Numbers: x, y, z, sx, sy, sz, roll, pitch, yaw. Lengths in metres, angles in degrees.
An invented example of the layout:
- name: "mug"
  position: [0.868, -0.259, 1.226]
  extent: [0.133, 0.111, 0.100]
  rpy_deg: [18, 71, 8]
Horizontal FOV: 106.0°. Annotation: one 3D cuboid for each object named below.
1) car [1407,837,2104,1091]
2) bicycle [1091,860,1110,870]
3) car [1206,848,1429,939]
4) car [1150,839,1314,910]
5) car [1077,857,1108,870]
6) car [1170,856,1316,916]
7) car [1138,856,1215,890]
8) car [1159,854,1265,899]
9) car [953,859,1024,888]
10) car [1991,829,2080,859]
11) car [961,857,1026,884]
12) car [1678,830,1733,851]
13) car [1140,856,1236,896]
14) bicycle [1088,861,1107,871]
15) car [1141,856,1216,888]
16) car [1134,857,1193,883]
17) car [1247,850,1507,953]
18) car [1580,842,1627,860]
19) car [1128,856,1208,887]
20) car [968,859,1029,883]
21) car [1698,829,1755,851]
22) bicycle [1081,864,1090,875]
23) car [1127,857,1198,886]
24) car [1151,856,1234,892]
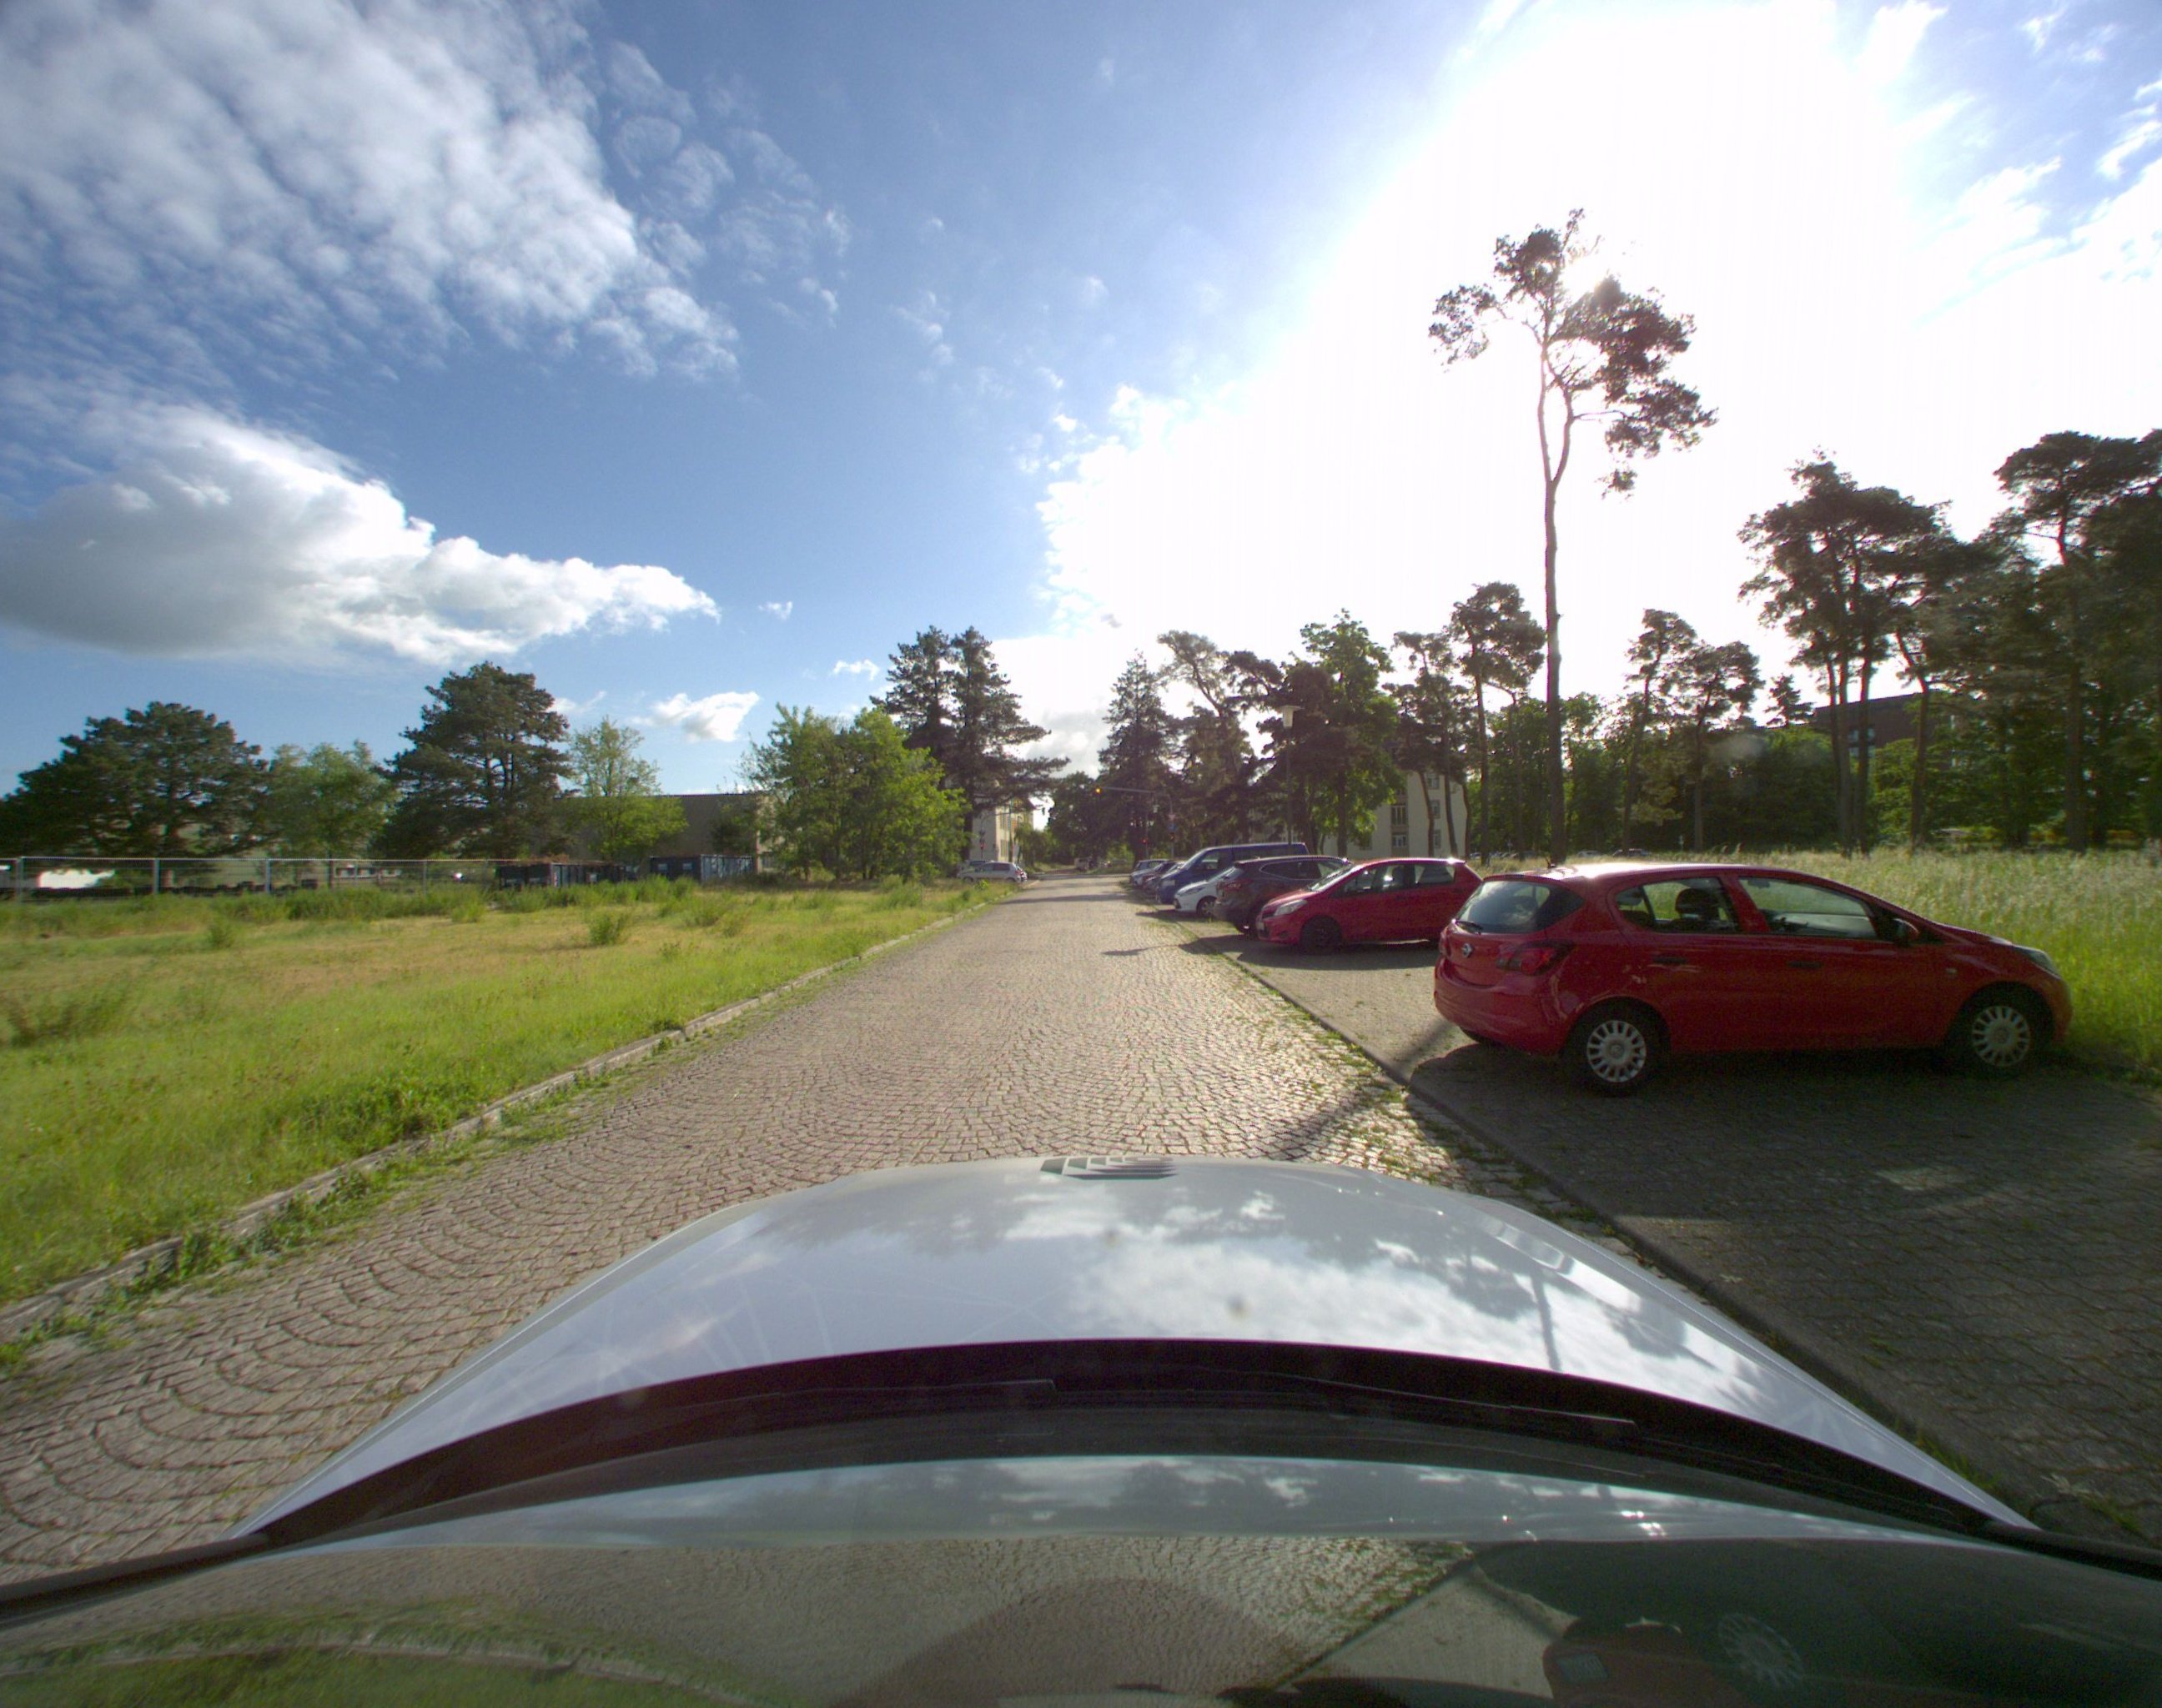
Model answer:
- name: "car"
  position: [4.676, 0.700, 6.051]
  extent: [3.816, 1.478, 1.645]
  rpy_deg: [-2, 0, -1]
- name: "bicycle"
  position: [2.346, 1.352, 99.183]
  extent: [2.173, 1.100, 0.804]
  rpy_deg: [-1, -1, -10]
- name: "car"
  position: [4.631, 0.751, 16.319]
  extent: [3.925, 1.621, 1.771]
  rpy_deg: [-1, 0, -2]
- name: "car"
  position: [4.630, 0.602, 25.417]
  extent: [4.666, 2.014, 2.081]
  rpy_deg: [-1, 0, -3]
- name: "car"
  position: [1.614, 1.310, 115.478]
  extent: [4.467, 1.728, 1.999]
  rpy_deg: [-1, 0, -1]
- name: "car"
  position: [4.457, 0.859, 22.735]
  extent: [3.710, 1.488, 1.644]
  rpy_deg: [-2, 0, -3]
- name: "car"
  position: [4.565, 0.898, 39.088]
  extent: [3.468, 1.529, 1.644]
  rpy_deg: [-1, 0, -2]
- name: "car"
  position: [4.855, 0.827, 30.593]
  extent: [3.681, 1.466, 1.645]
  rpy_deg: [-3, 0, 0]
- name: "car"
  position: [-5.445, 1.150, 48.202]
  extent: [3.977, 1.600, 1.998]
  rpy_deg: [-1, 0, -3]
- name: "car"
  position: [67.618, -0.669, 57.719]
  extent: [3.974, 2.014, 2.000]
  rpy_deg: [-1, 0, 0]
- name: "car"
  position: [-5.703, 1.043, 53.591]
  extent: [3.975, 1.601, 1.999]
  rpy_deg: [2, 0, -1]
- name: "car"
  position: [62.708, -1.373, 81.862]
  extent: [3.974, 2.014, 2.000]
  rpy_deg: [-1, 0, 0]
- name: "car"
  position: [4.353, 0.903, 33.477]
  extent: [3.665, 1.467, 1.644]
  rpy_deg: [-2, 0, -2]
- name: "bicycle"
  position: [2.038, 1.444, 98.008]
  extent: [2.173, 1.100, 0.804]
  rpy_deg: [-1, -1, -10]
- name: "car"
  position: [4.917, 0.905, 41.551]
  extent: [3.592, 1.529, 1.644]
  rpy_deg: [-1, 0, -2]
- name: "car"
  position: [4.917, 0.948, 49.040]
  extent: [3.334, 1.483, 1.644]
  rpy_deg: [-1, 0, -2]
- name: "car"
  position: [4.839, 0.751, 13.644]
  extent: [3.752, 1.530, 1.644]
  rpy_deg: [-1, 0, -2]
- name: "car"
  position: [58.684, -0.334, 91.428]
  extent: [3.974, 2.014, 2.000]
  rpy_deg: [-1, 0, 0]
- name: "car"
  position: [4.642, 0.923, 43.628]
  extent: [4.026, 1.529, 1.643]
  rpy_deg: [-1, 0, -4]
- name: "car"
  position: [-5.620, 1.157, 55.991]
  extent: [3.975, 1.453, 1.999]
  rpy_deg: [2, 0, -1]
- name: "car"
  position: [62.986, -1.355, 79.462]
  extent: [3.974, 2.014, 2.000]
  rpy_deg: [-1, 0, 0]
- name: "bicycle"
  position: [0.531, 1.820, 94.535]
  extent: [0.803, 1.169, 2.176]
  rpy_deg: [-3, 0, -6]
- name: "car"
  position: [4.603, 0.963, 46.398]
  extent: [3.825, 1.529, 1.644]
  rpy_deg: [-1, 0, -2]
- name: "car"
  position: [4.933, 0.877, 36.399]
  extent: [3.468, 1.529, 1.644]
  rpy_deg: [-1, 0, -2]
